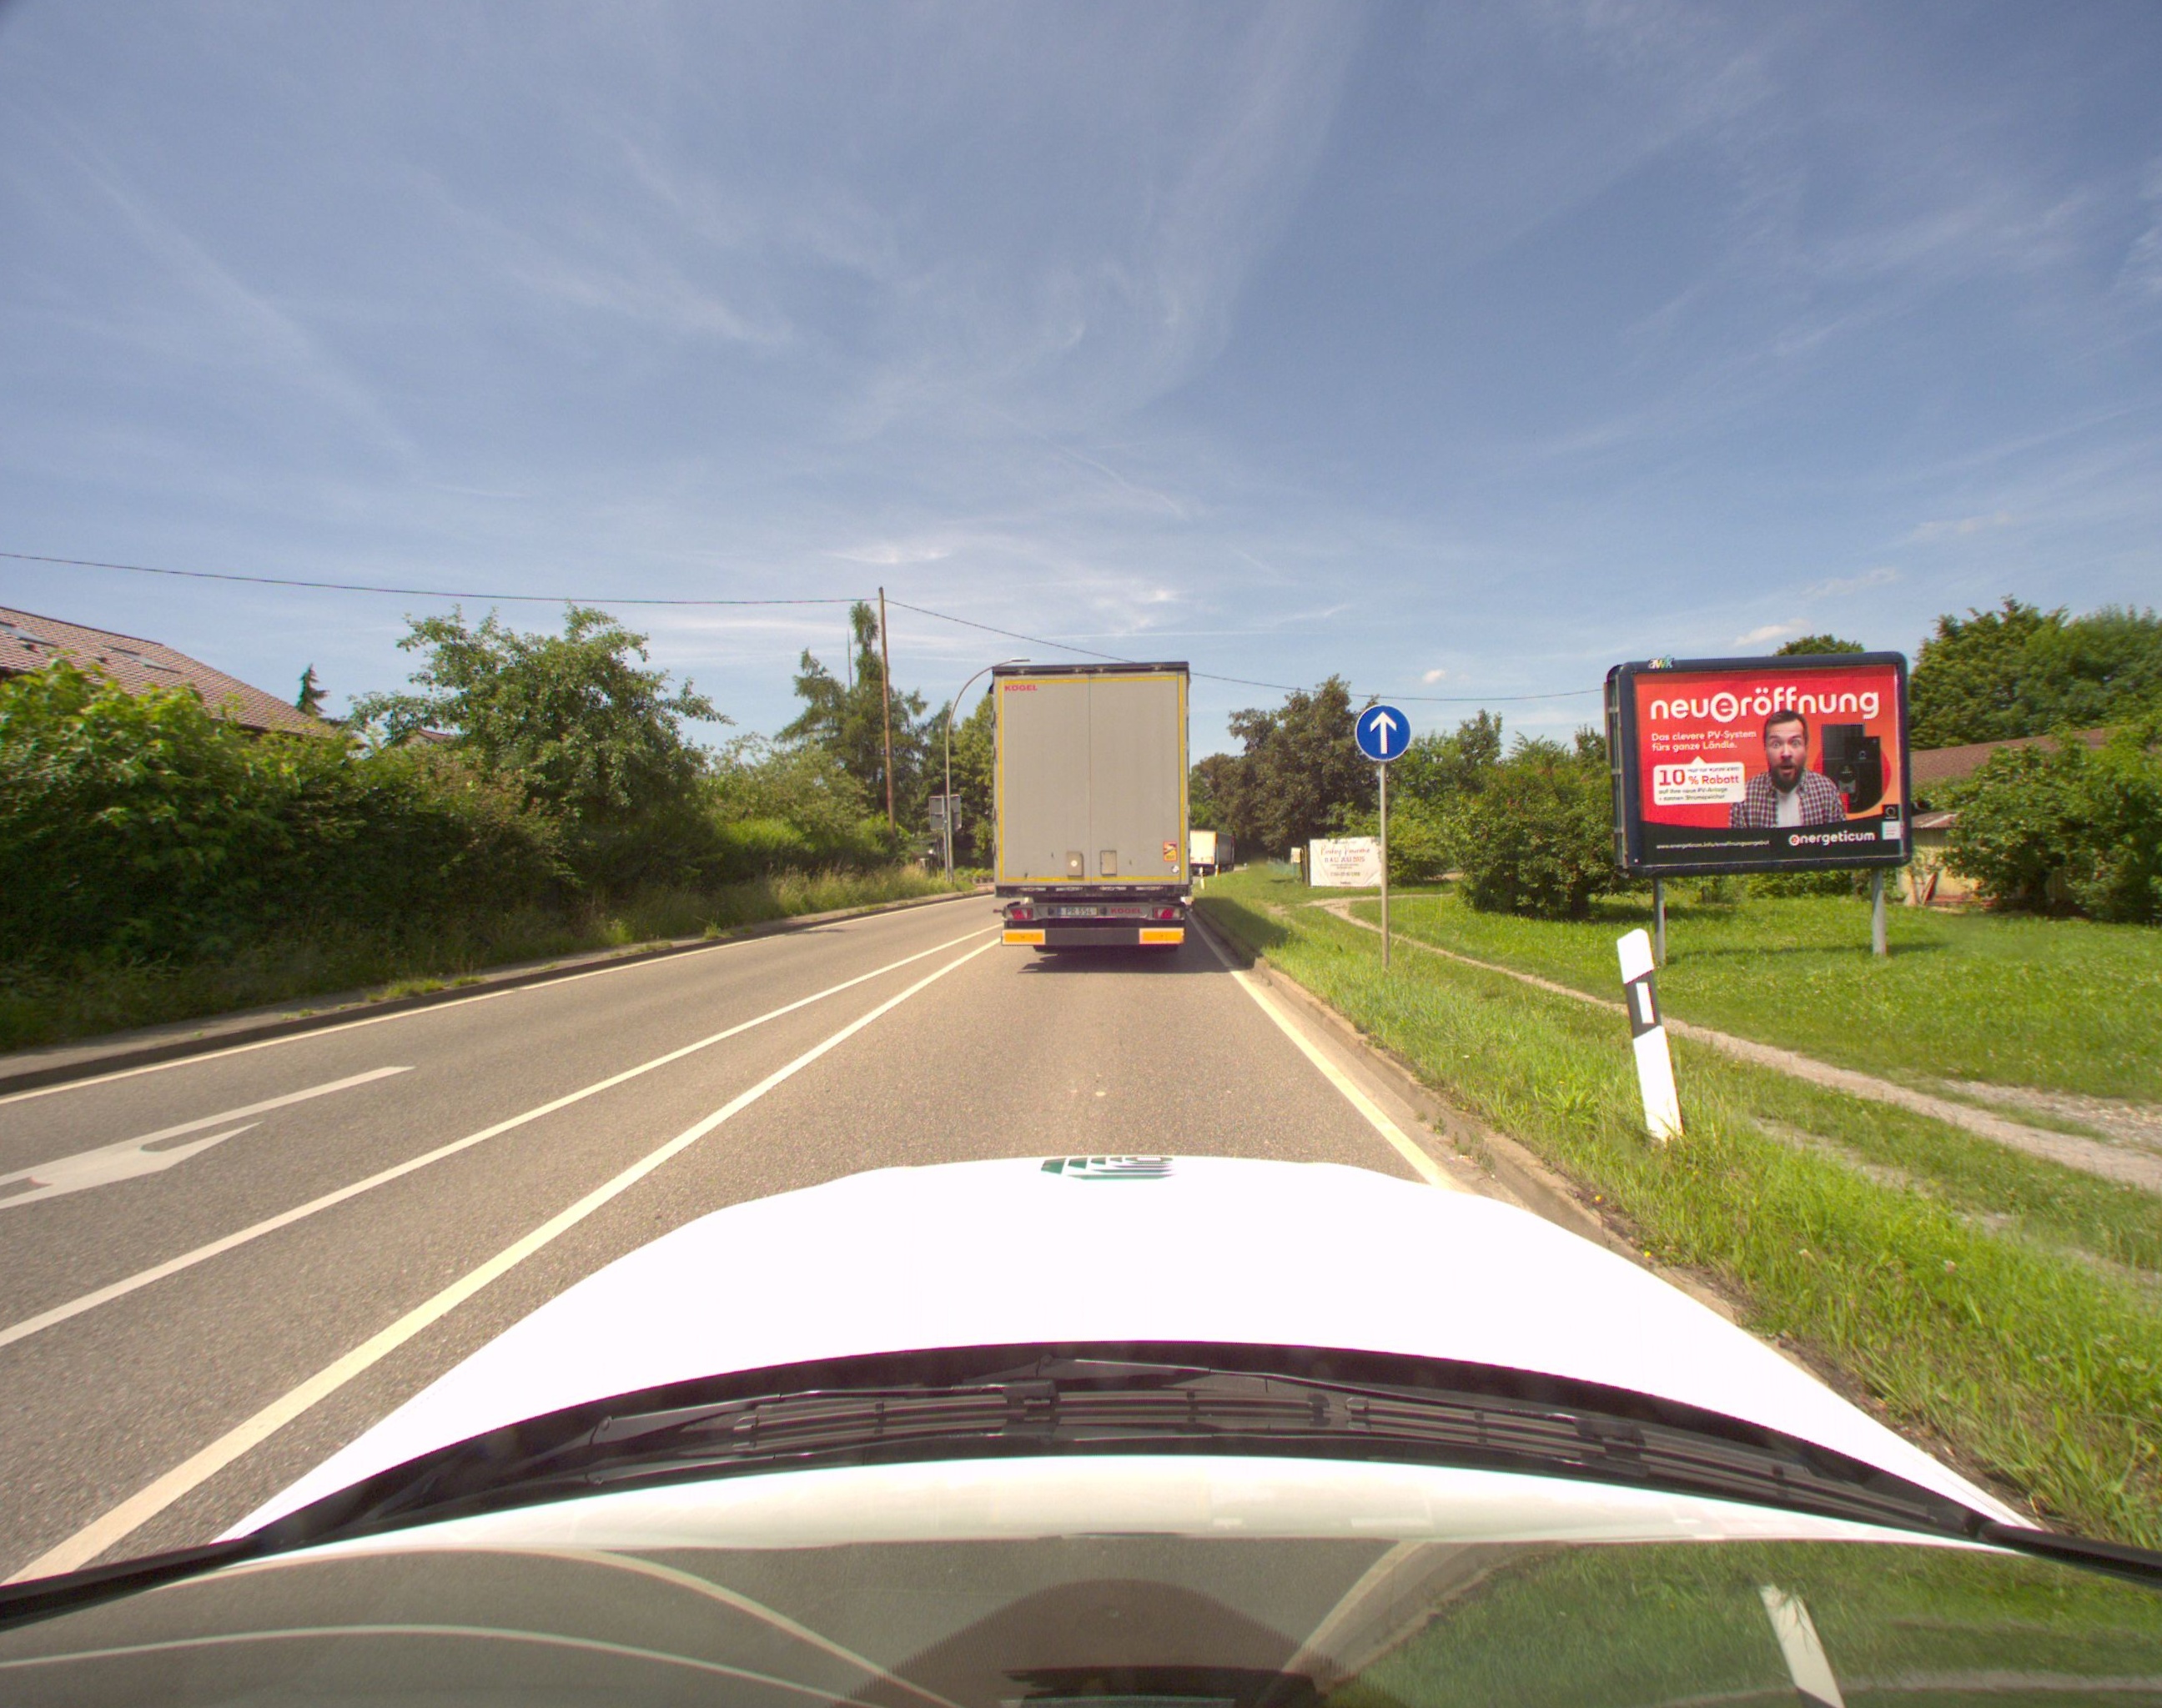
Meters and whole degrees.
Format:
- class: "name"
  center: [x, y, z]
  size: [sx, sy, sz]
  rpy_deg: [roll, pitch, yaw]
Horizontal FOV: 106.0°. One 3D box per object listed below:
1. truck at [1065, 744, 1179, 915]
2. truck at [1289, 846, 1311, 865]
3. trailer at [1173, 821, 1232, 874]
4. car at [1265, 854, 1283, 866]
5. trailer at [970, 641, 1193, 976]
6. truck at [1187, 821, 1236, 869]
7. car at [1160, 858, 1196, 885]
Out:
- class: "truck"
  center: [1.337, -0.619, 23.143]
  size: [2.732, 4.165, 6.153]
  rpy_deg: [-1, 0, 6]
- class: "truck"
  center: [33.314, 0.241, 123.944]
  size: [2.399, 2.838, 5.443]
  rpy_deg: [-1, 0, 24]
- class: "trailer"
  center: [11.584, -0.563, 76.501]
  size: [3.862, 4.521, 12.765]
  rpy_deg: [-1, 0, 15]
- class: "car"
  center: [26.719, 0.853, 112.629]
  size: [1.825, 1.486, 4.022]
  rpy_deg: [-1, 0, 23]
- class: "trailer"
  center: [0.614, -0.604, 16.397]
  size: [2.773, 4.205, 12.131]
  rpy_deg: [-1, 0, 6]
- class: "truck"
  center: [13.397, -0.900, 83.055]
  size: [3.907, 4.575, 7.182]
  rpy_deg: [-1, 0, 16]
- class: "car"
  center: [6.090, 1.046, 50.899]
  size: [1.981, 1.530, 4.011]
  rpy_deg: [-1, 0, 10]
